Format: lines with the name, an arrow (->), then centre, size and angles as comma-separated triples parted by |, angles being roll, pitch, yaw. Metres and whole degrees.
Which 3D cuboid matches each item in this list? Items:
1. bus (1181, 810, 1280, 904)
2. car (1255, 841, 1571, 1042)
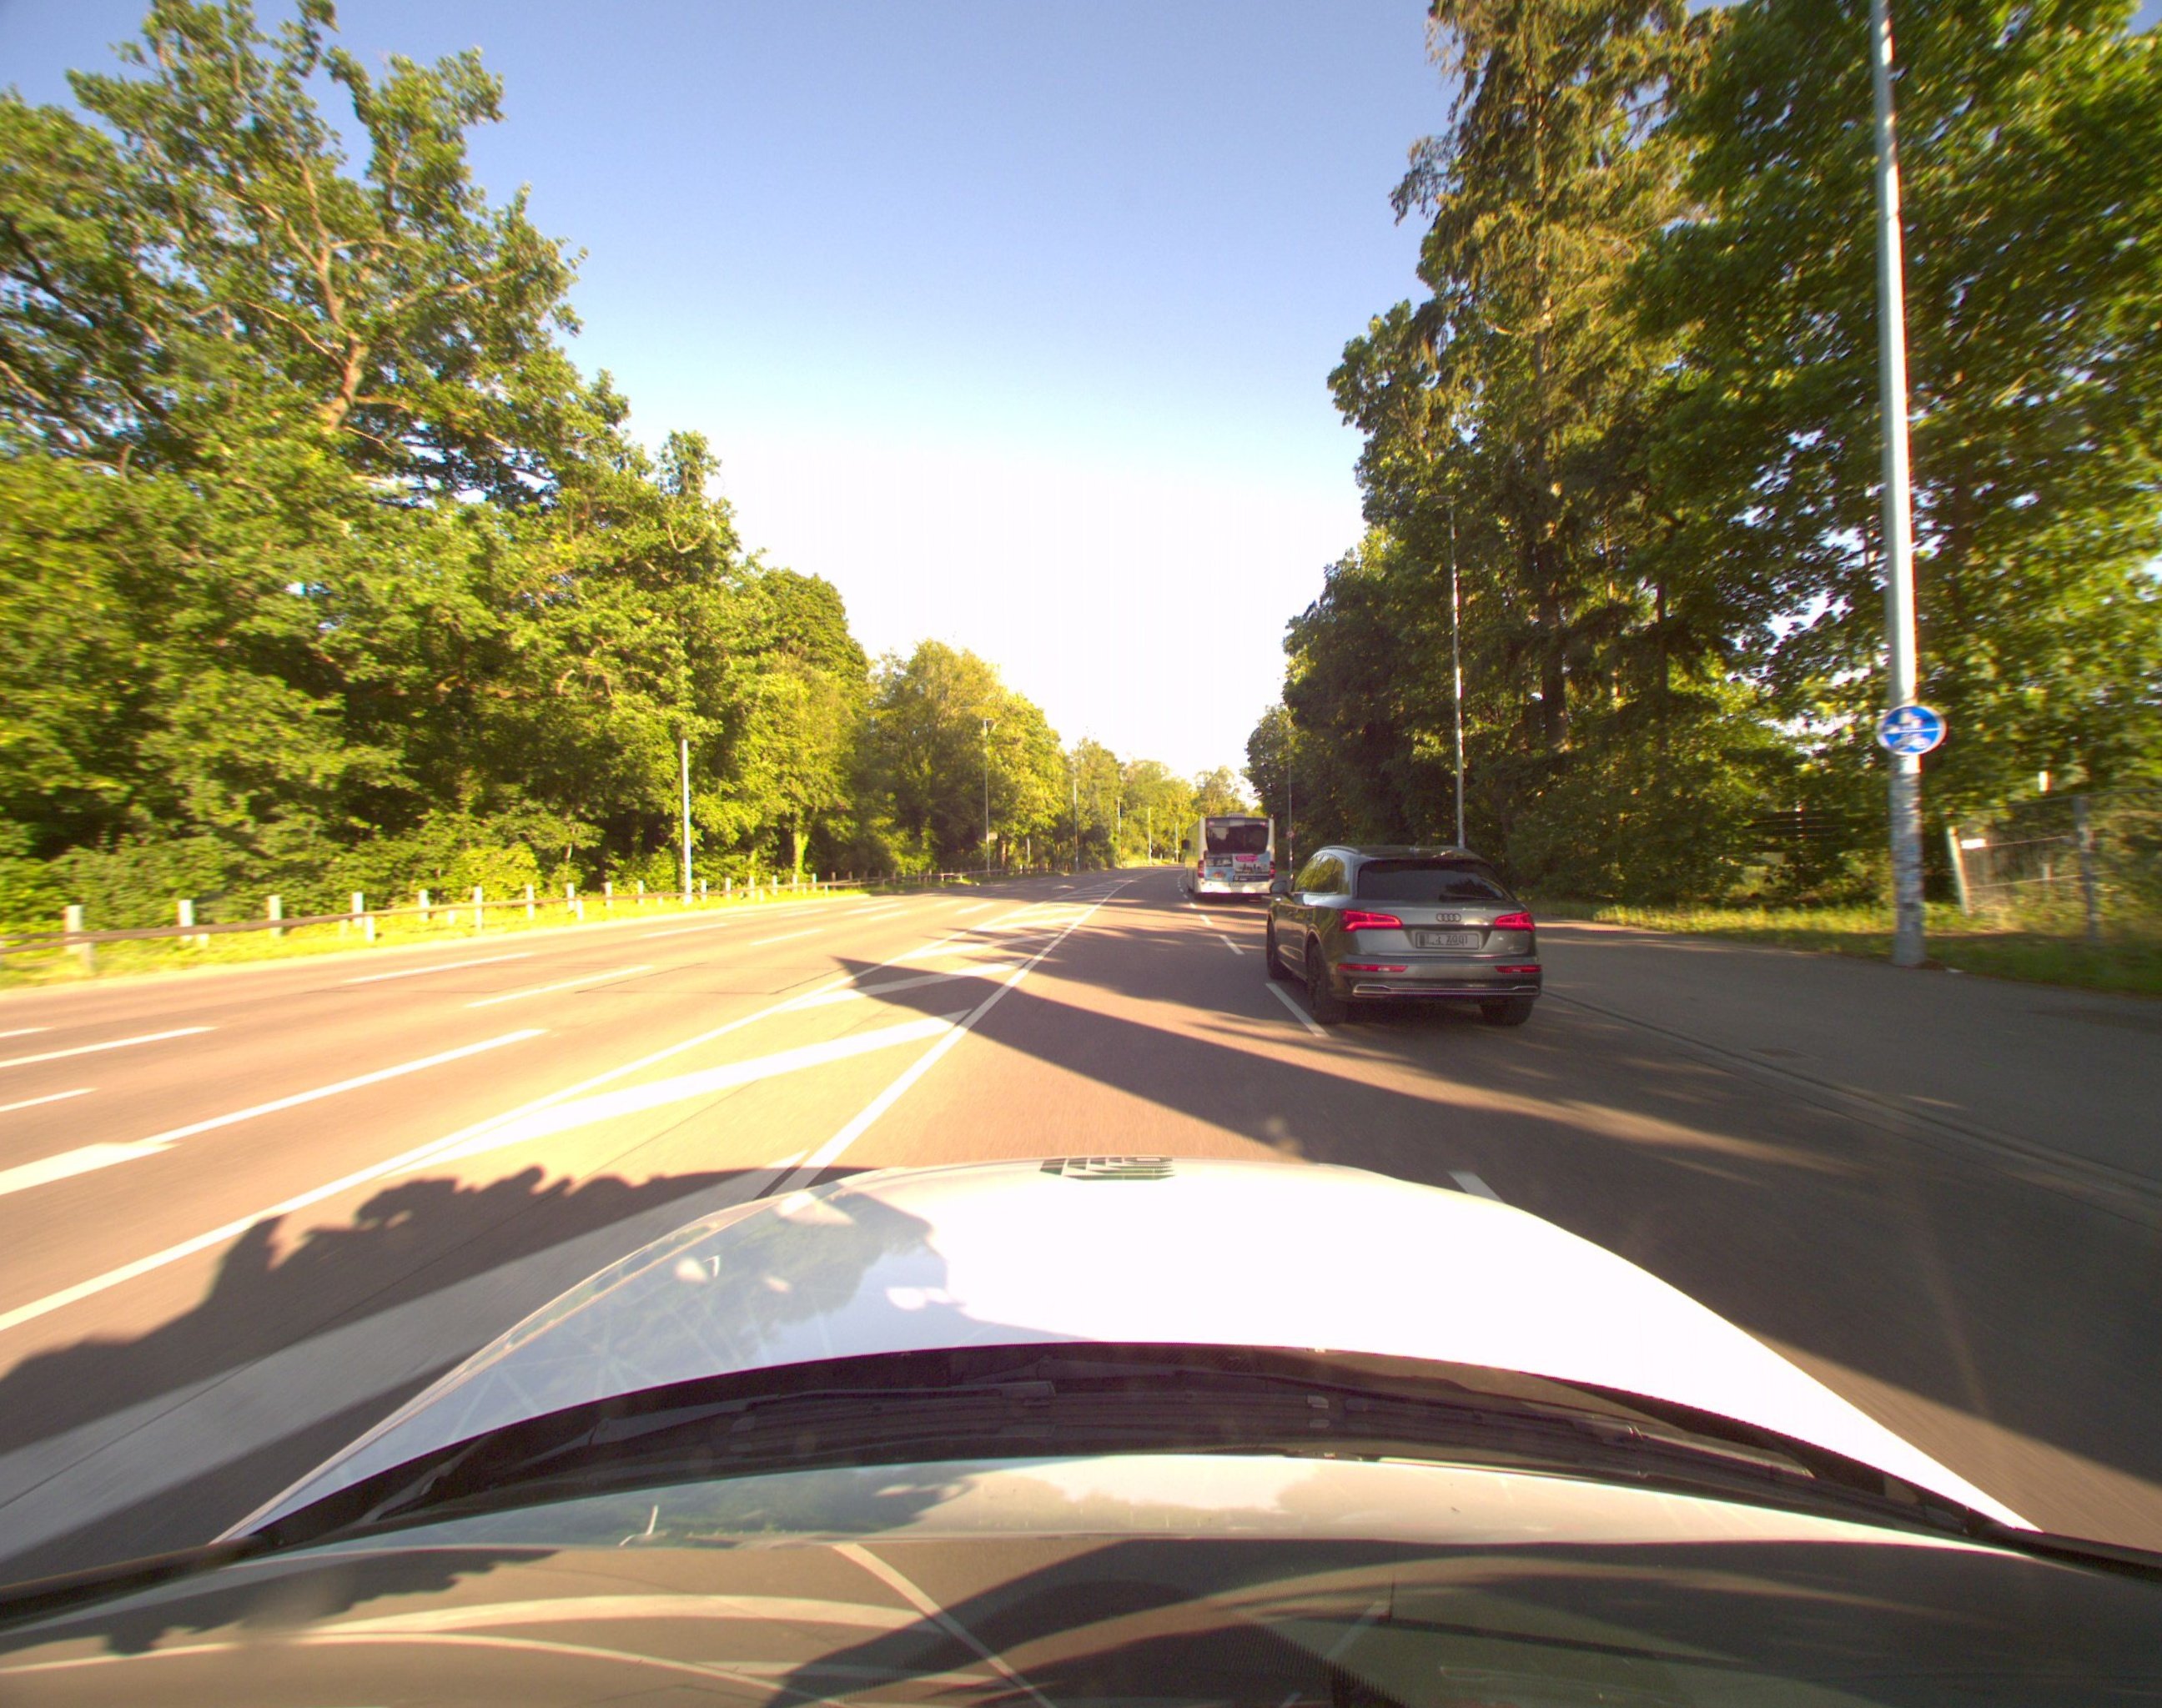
bus -> 5.573, 0.130, 32.356 | 2.677, 3.042, 12.055 | 0, 0, 5
car -> 3.151, 0.726, 8.840 | 1.884, 1.605, 4.549 | 0, -1, 4
